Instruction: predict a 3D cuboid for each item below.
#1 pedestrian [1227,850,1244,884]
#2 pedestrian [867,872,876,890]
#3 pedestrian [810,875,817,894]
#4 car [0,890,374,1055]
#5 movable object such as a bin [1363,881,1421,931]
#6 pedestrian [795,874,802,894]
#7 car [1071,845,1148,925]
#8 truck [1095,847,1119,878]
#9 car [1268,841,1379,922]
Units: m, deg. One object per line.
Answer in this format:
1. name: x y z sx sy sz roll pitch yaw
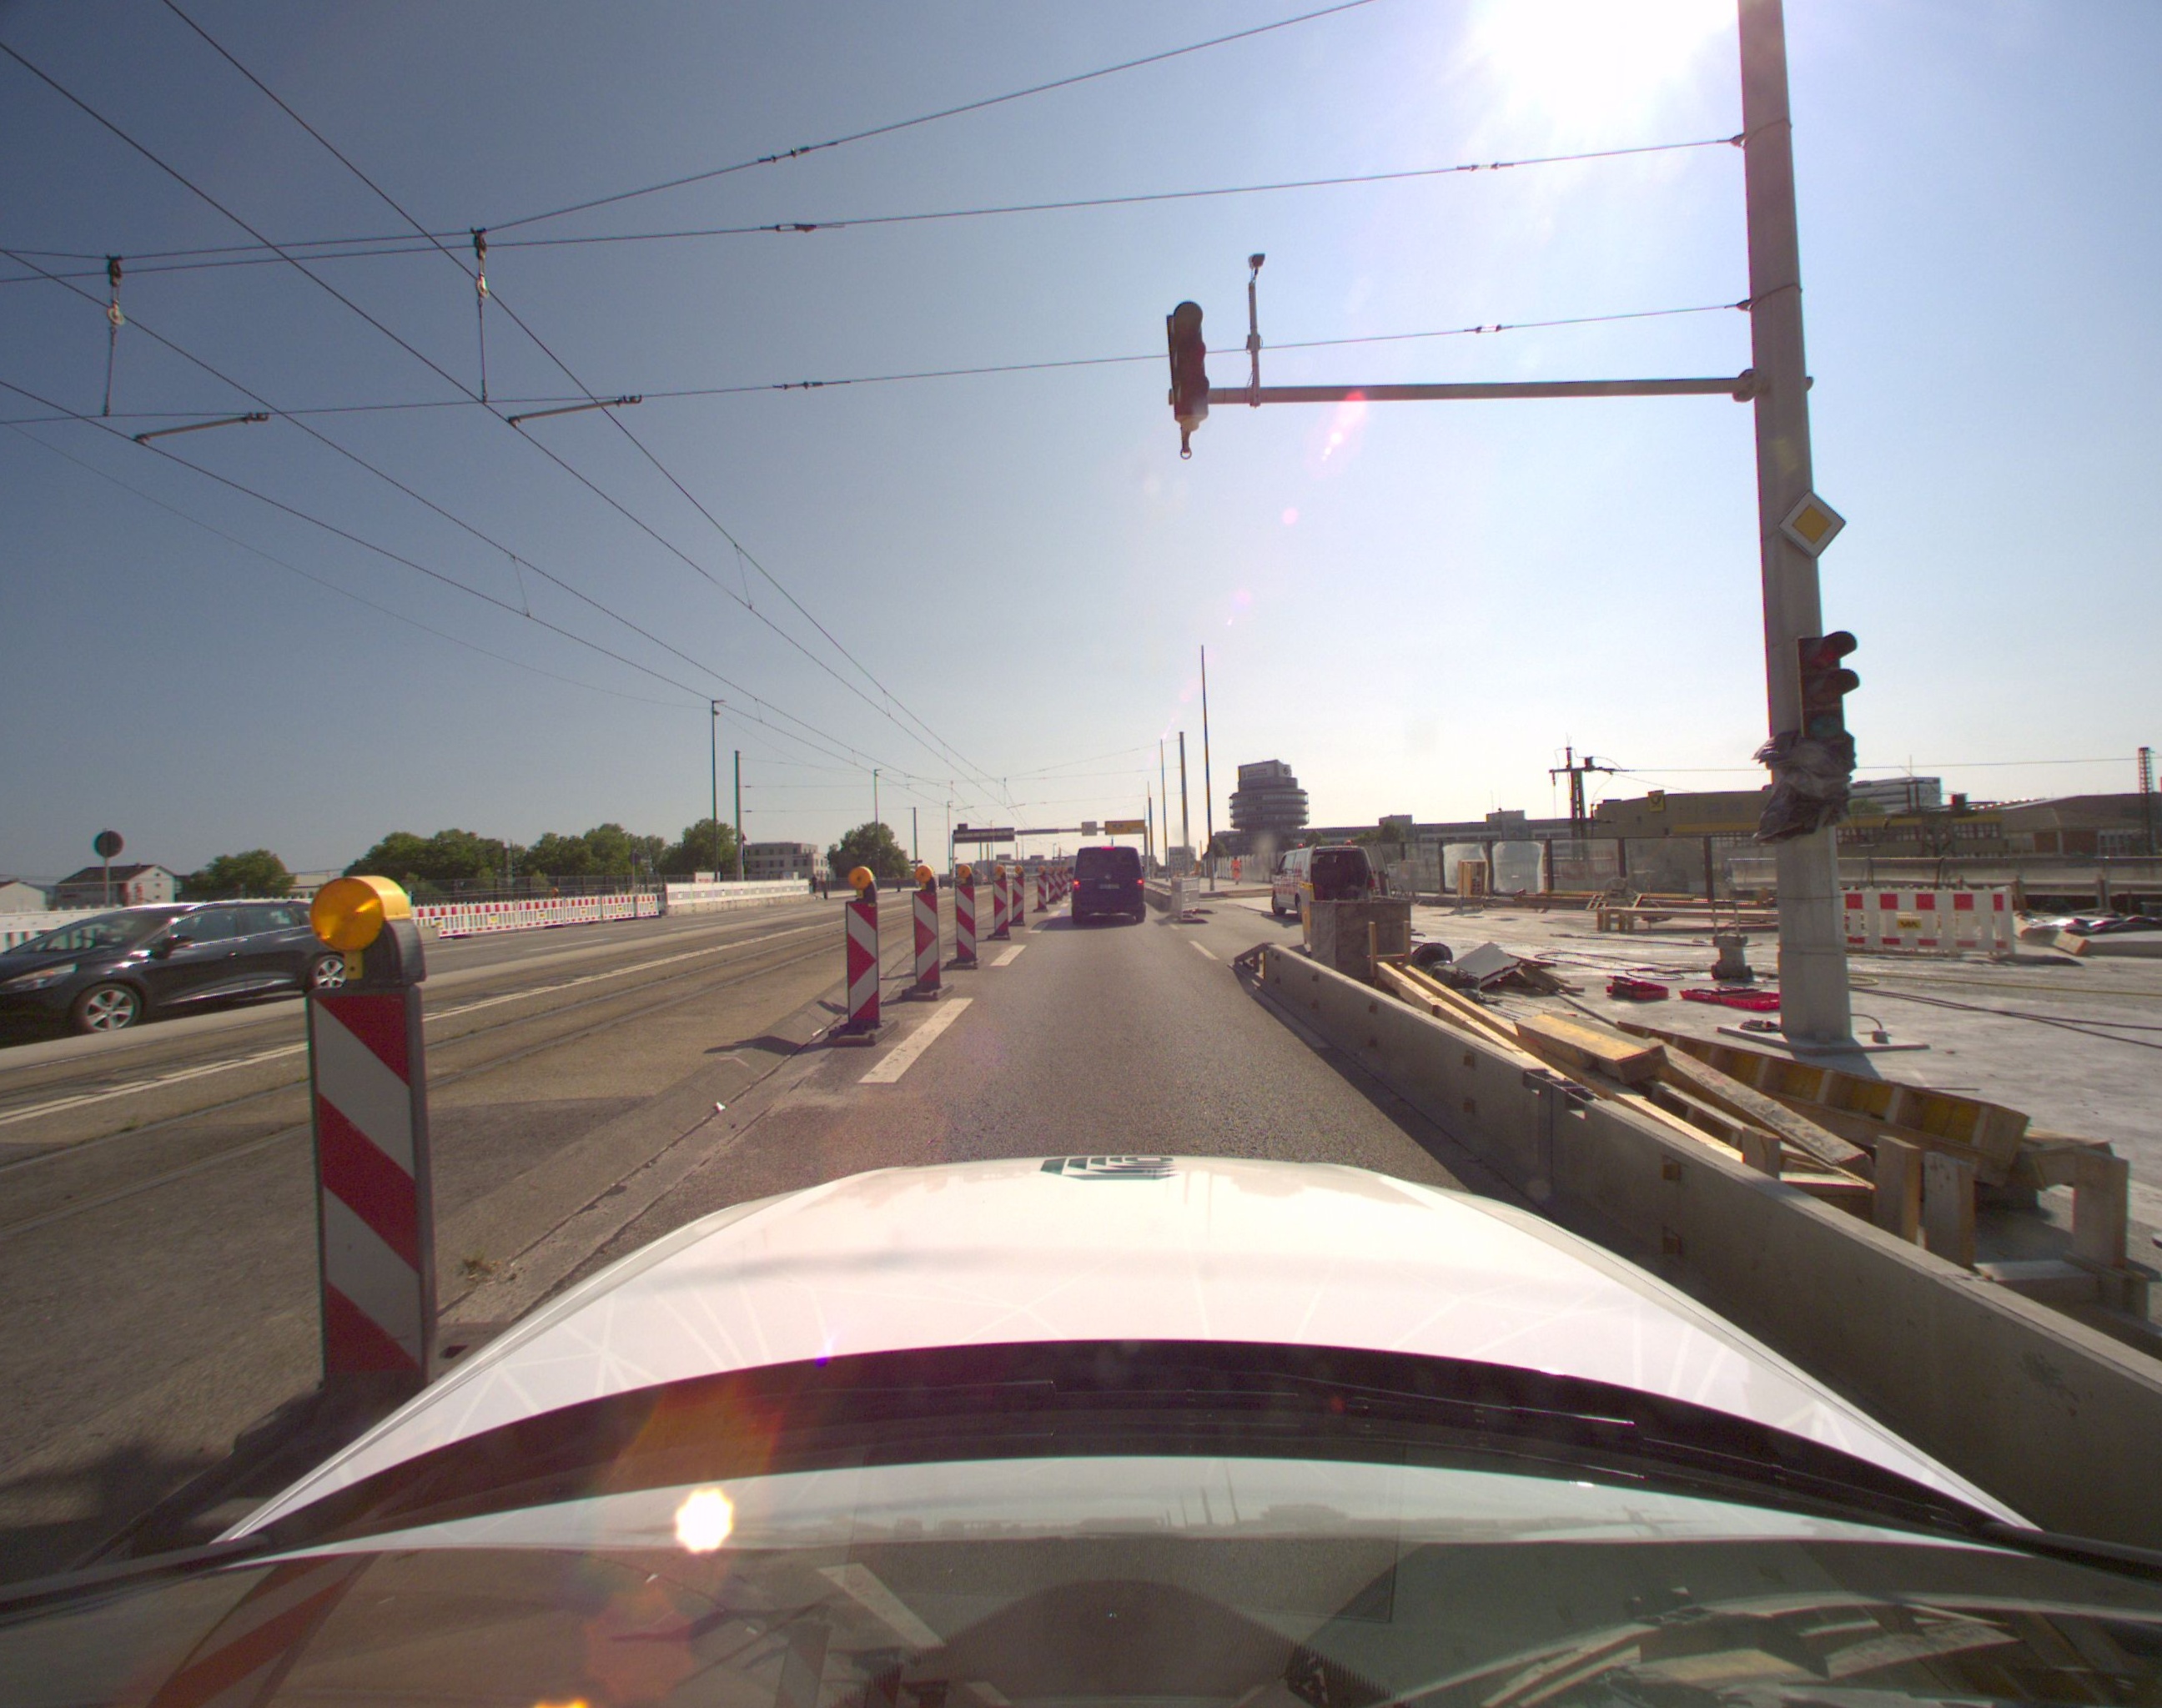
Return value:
1. pedestrian: 9.119 0.789 48.103 0.779 1.935 0.799 -3 -2 1
2. pedestrian: -21.805 2.827 84.759 0.631 1.893 0.752 -1 -1 1
3. pedestrian: -23.713 2.723 72.145 0.493 1.694 0.474 -1 -2 1
4. car: -11.462 1.317 10.142 1.500 1.500 4.179 -4 -1 2
5. movable object such as a bin: 7.164 1.176 18.762 0.896 1.074 0.931 0 -1 -42
6. pedestrian: -24.979 2.664 71.964 0.493 1.694 0.474 -1 -2 1
7. car: 0.726 0.772 21.938 1.809 1.905 4.054 -2 -1 1
8. truck: 2.925 0.902 91.628 2.451 3.135 11.219 -2 0 2
9. car: 6.687 0.747 23.058 1.871 2.033 4.894 -1 -1 3
